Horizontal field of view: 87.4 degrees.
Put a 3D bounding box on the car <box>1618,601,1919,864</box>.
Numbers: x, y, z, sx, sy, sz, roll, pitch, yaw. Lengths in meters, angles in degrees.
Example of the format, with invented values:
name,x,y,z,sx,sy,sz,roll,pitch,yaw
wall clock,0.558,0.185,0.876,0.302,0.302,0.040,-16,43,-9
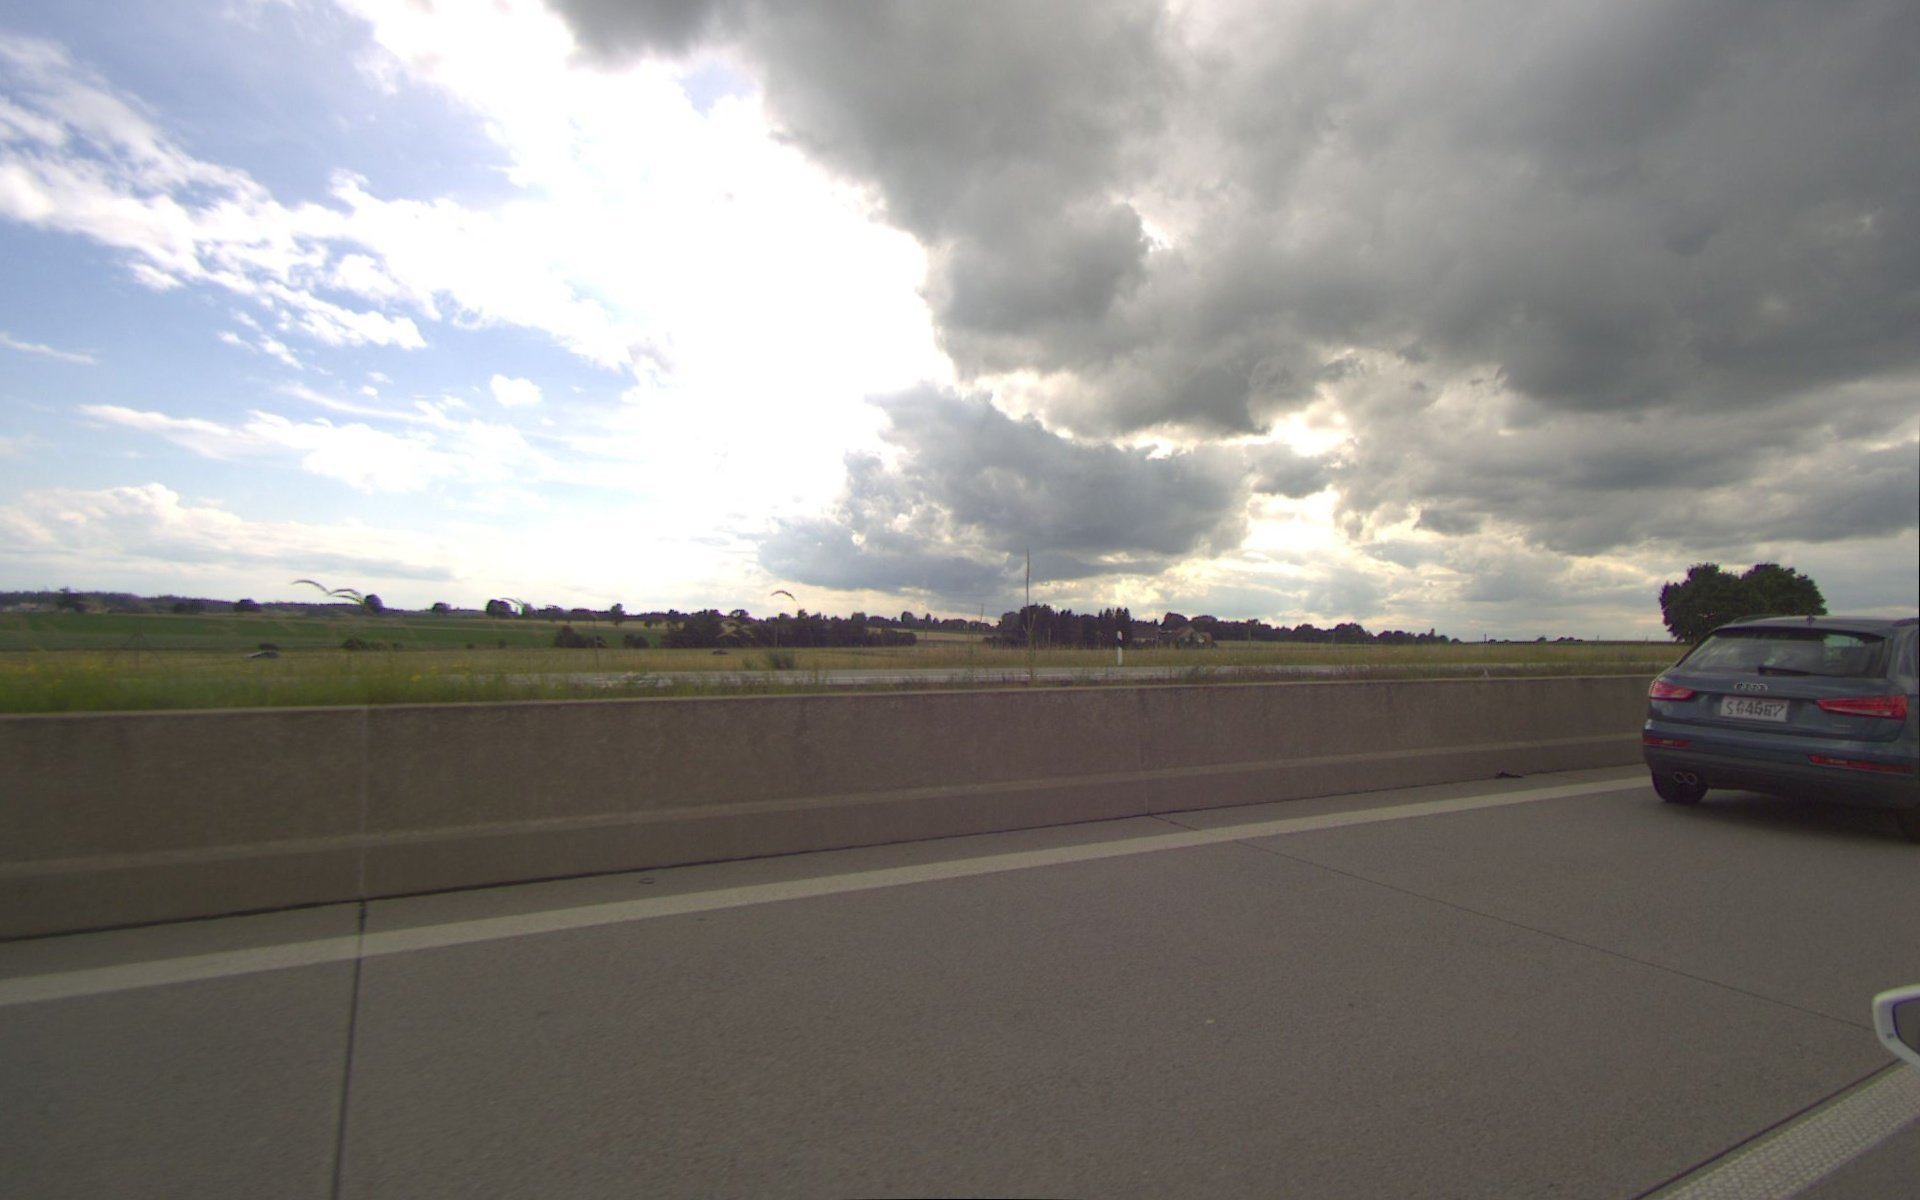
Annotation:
name,x,y,z,sx,sy,sz,roll,pitch,yaw
car,7.717,0.893,8.396,5.101,1.617,1.782,2,0,-33
